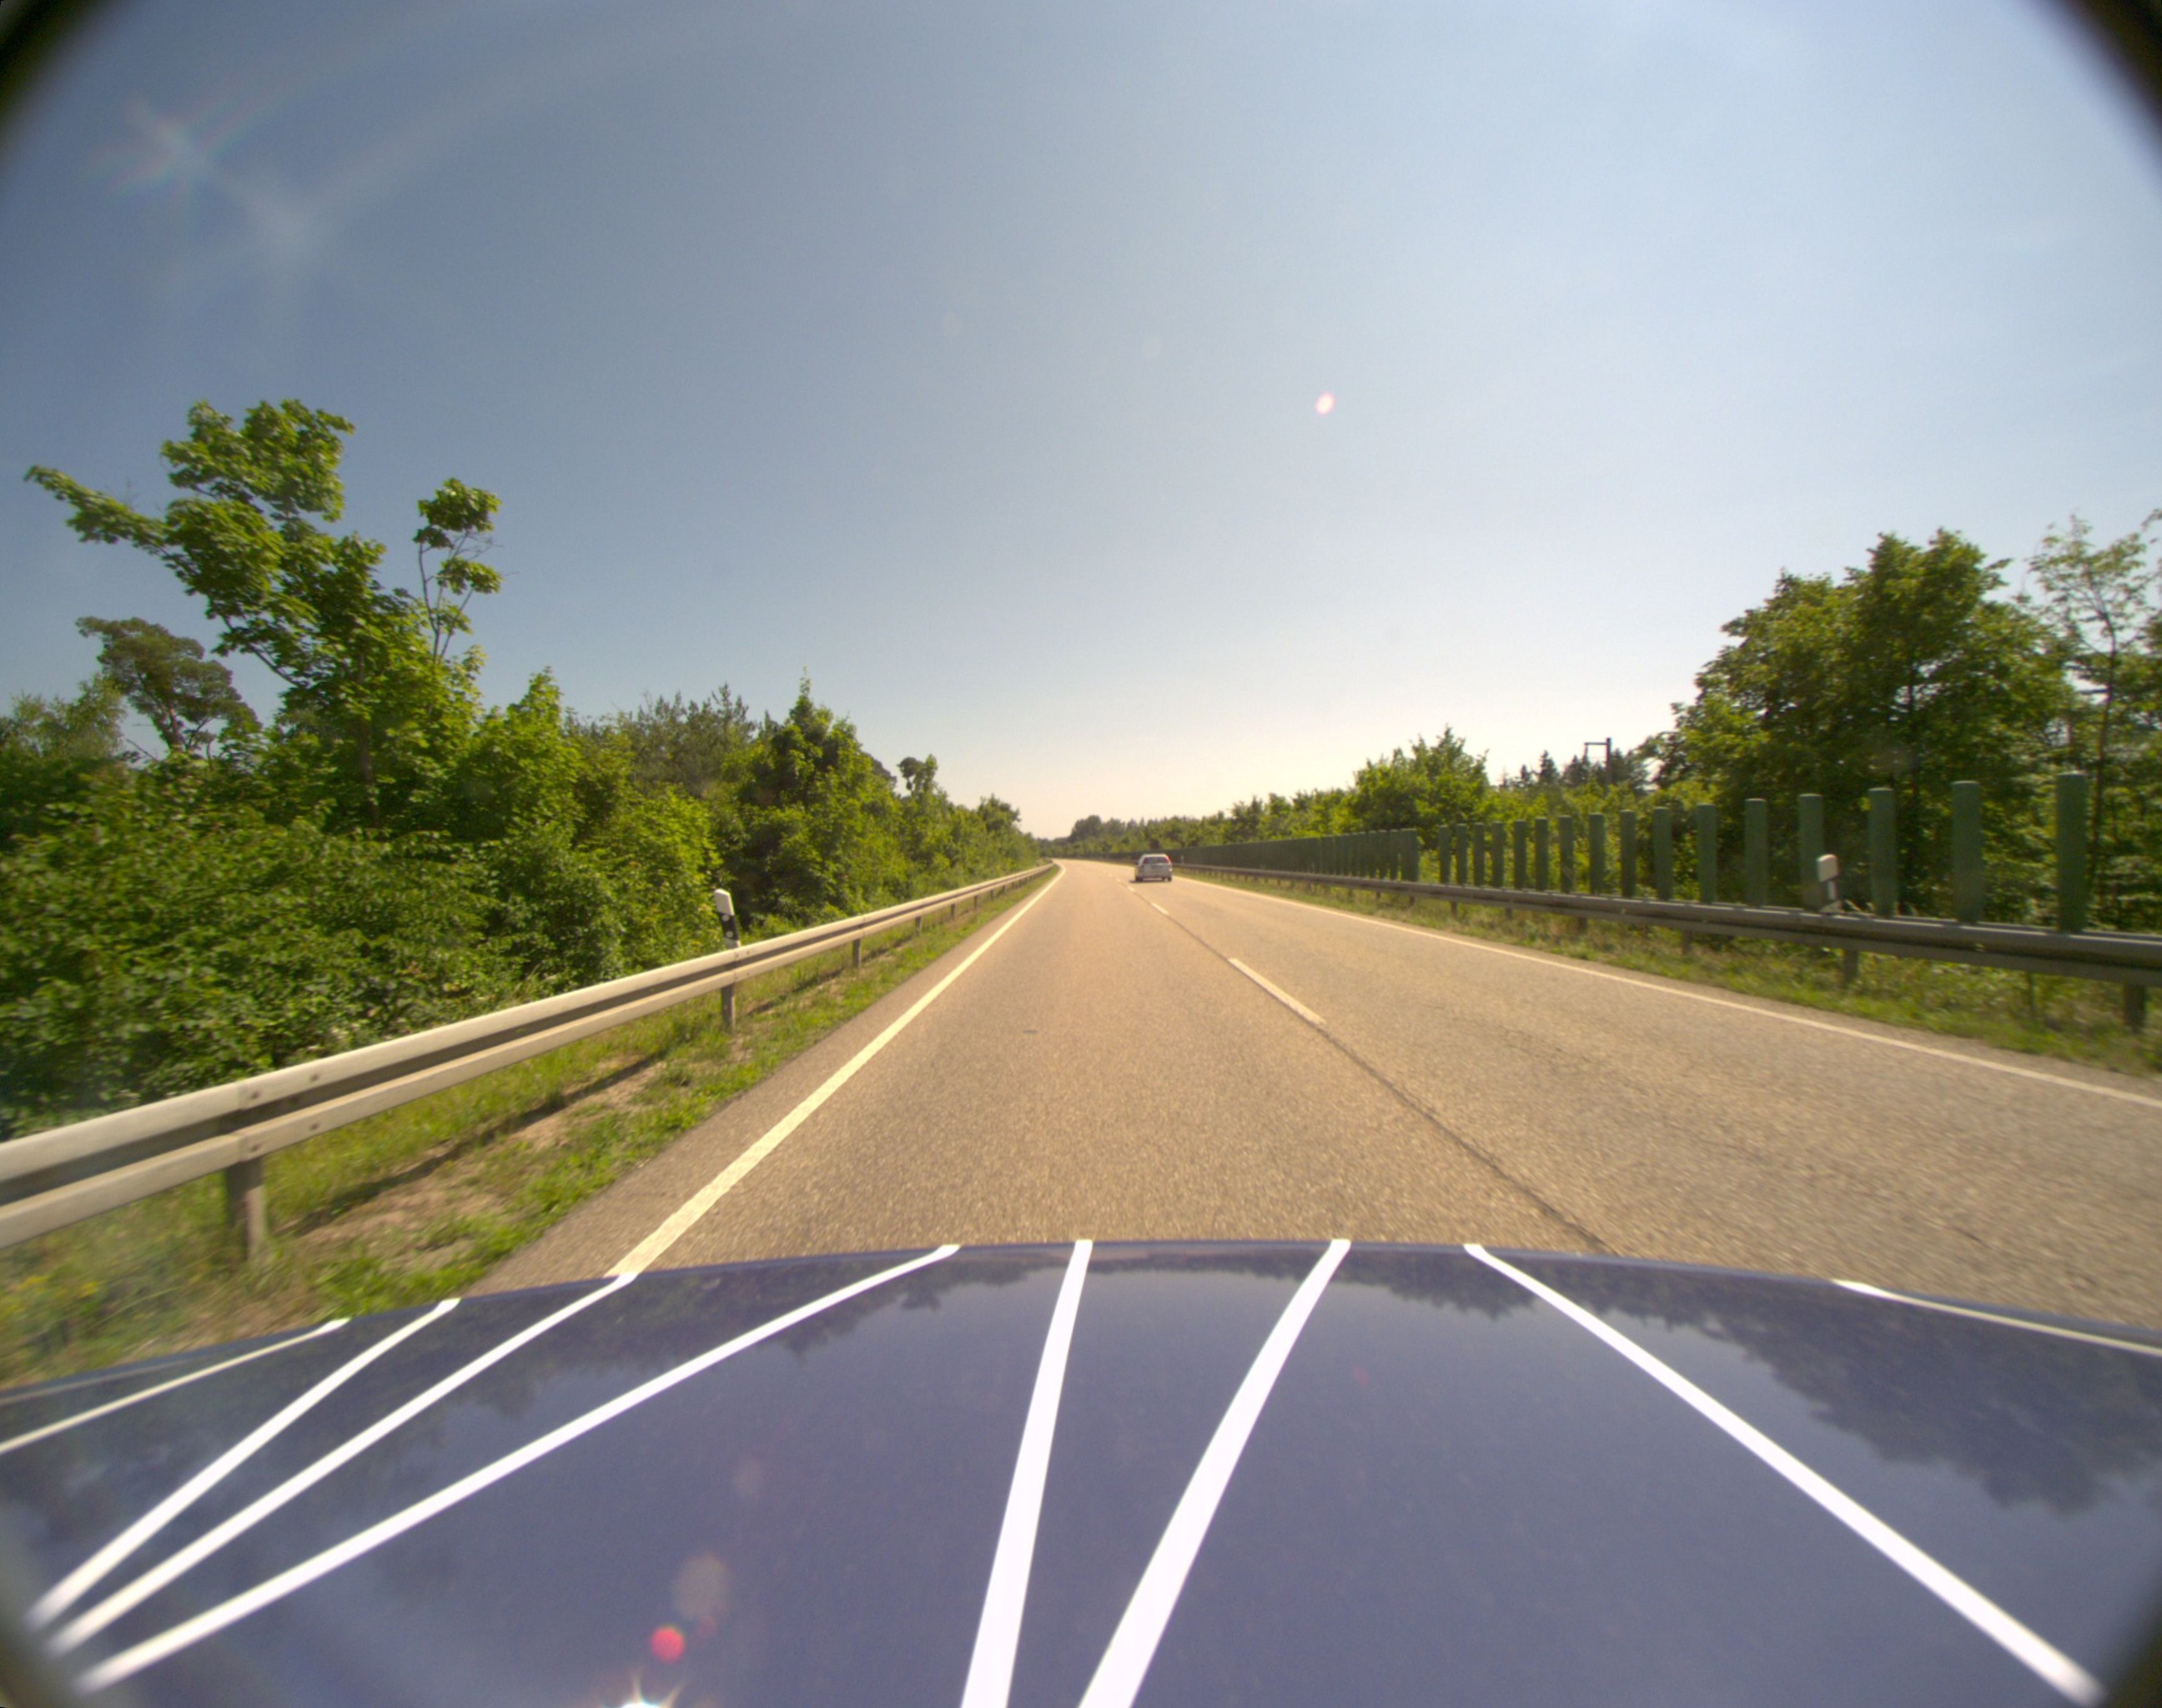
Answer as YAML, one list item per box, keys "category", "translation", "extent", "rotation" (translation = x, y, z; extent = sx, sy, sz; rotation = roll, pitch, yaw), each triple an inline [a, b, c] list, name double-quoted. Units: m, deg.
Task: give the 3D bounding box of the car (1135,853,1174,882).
- category: "car"
  translation: [4.005, 0.695, 41.804]
  extent: [1.724, 1.492, 4.248]
  rotation: [-2, 0, 0]
